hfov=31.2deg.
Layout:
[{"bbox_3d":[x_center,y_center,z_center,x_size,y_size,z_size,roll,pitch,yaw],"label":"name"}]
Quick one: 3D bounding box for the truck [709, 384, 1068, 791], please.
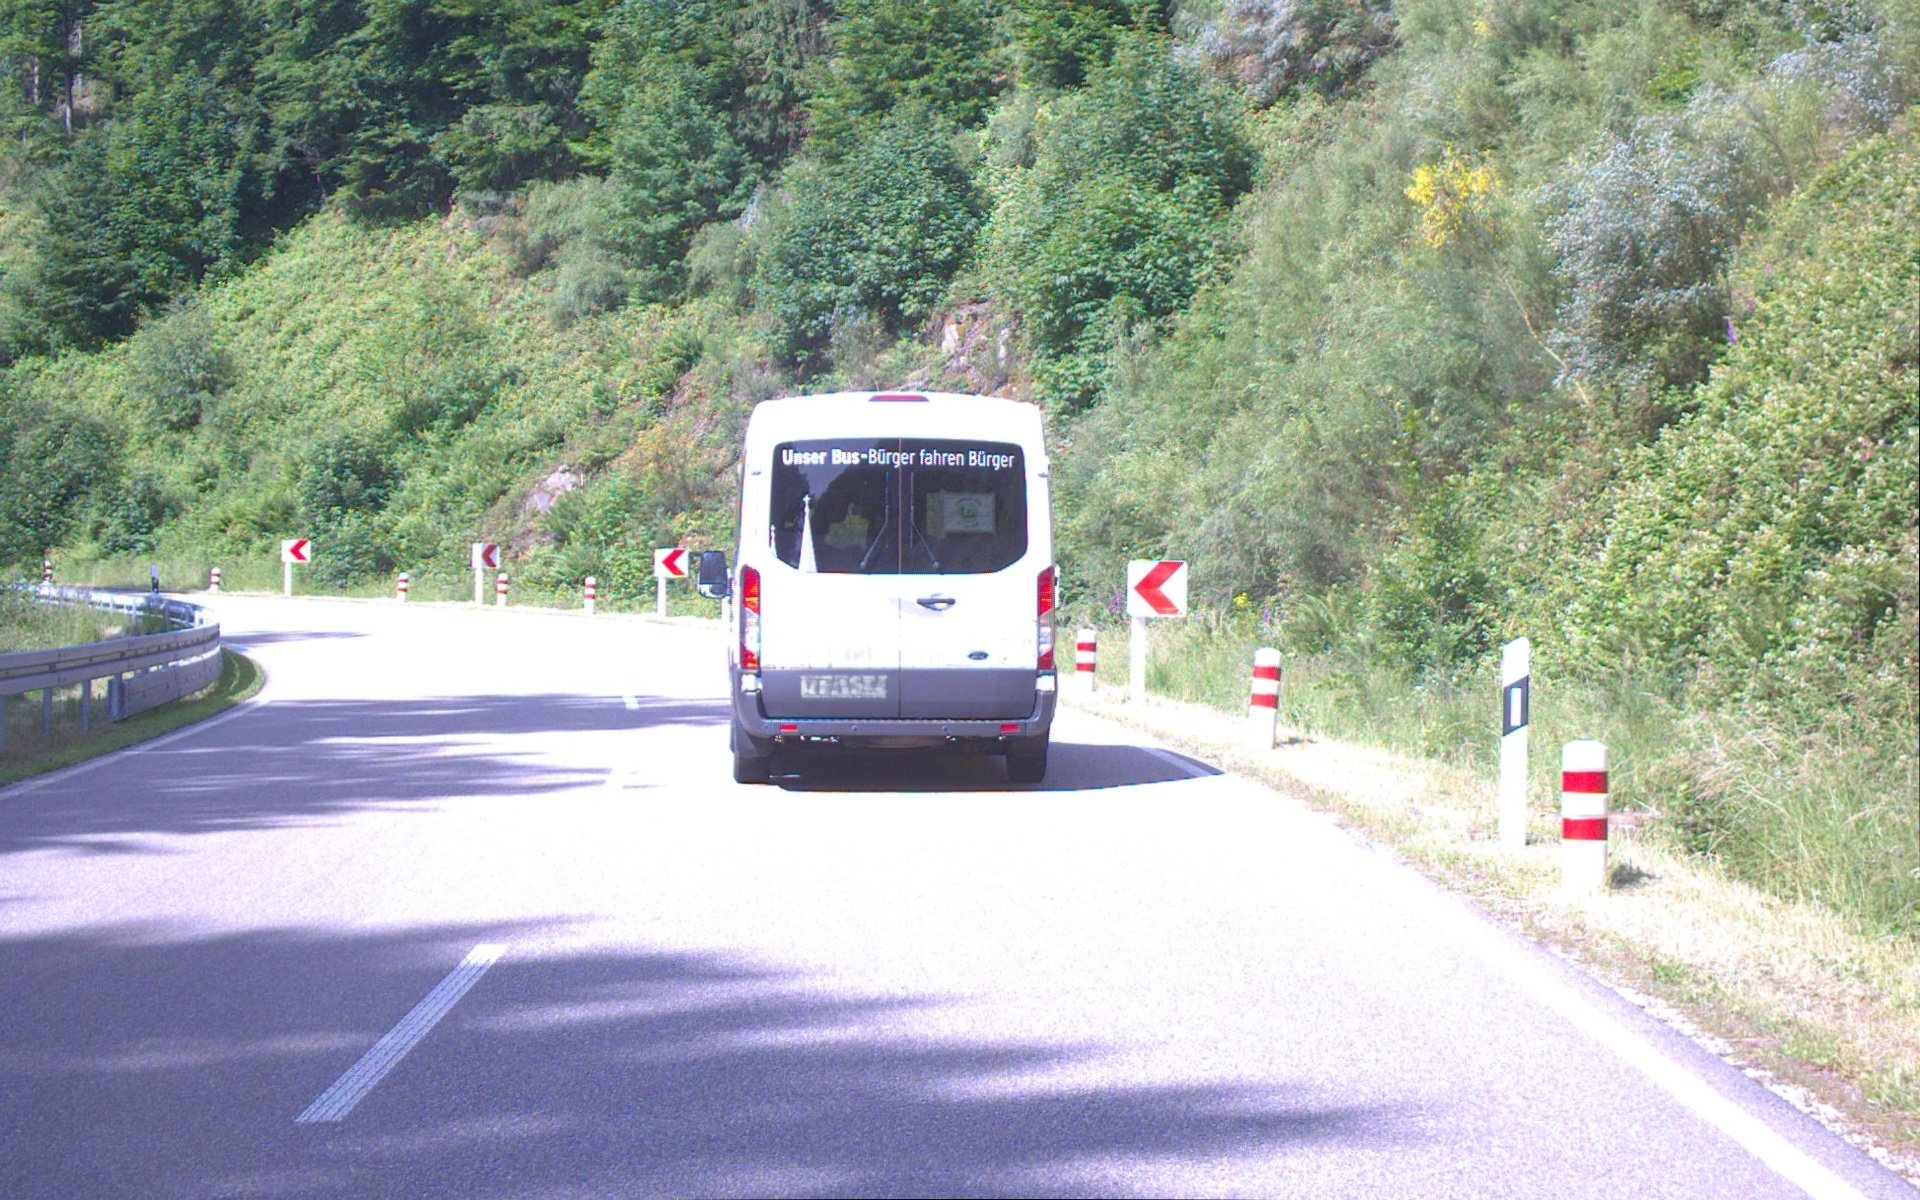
[{"bbox_3d":[-0.603,-0.107,23.233,2.083,2.451,4.876,0,1,-5],"label":"truck"}]
